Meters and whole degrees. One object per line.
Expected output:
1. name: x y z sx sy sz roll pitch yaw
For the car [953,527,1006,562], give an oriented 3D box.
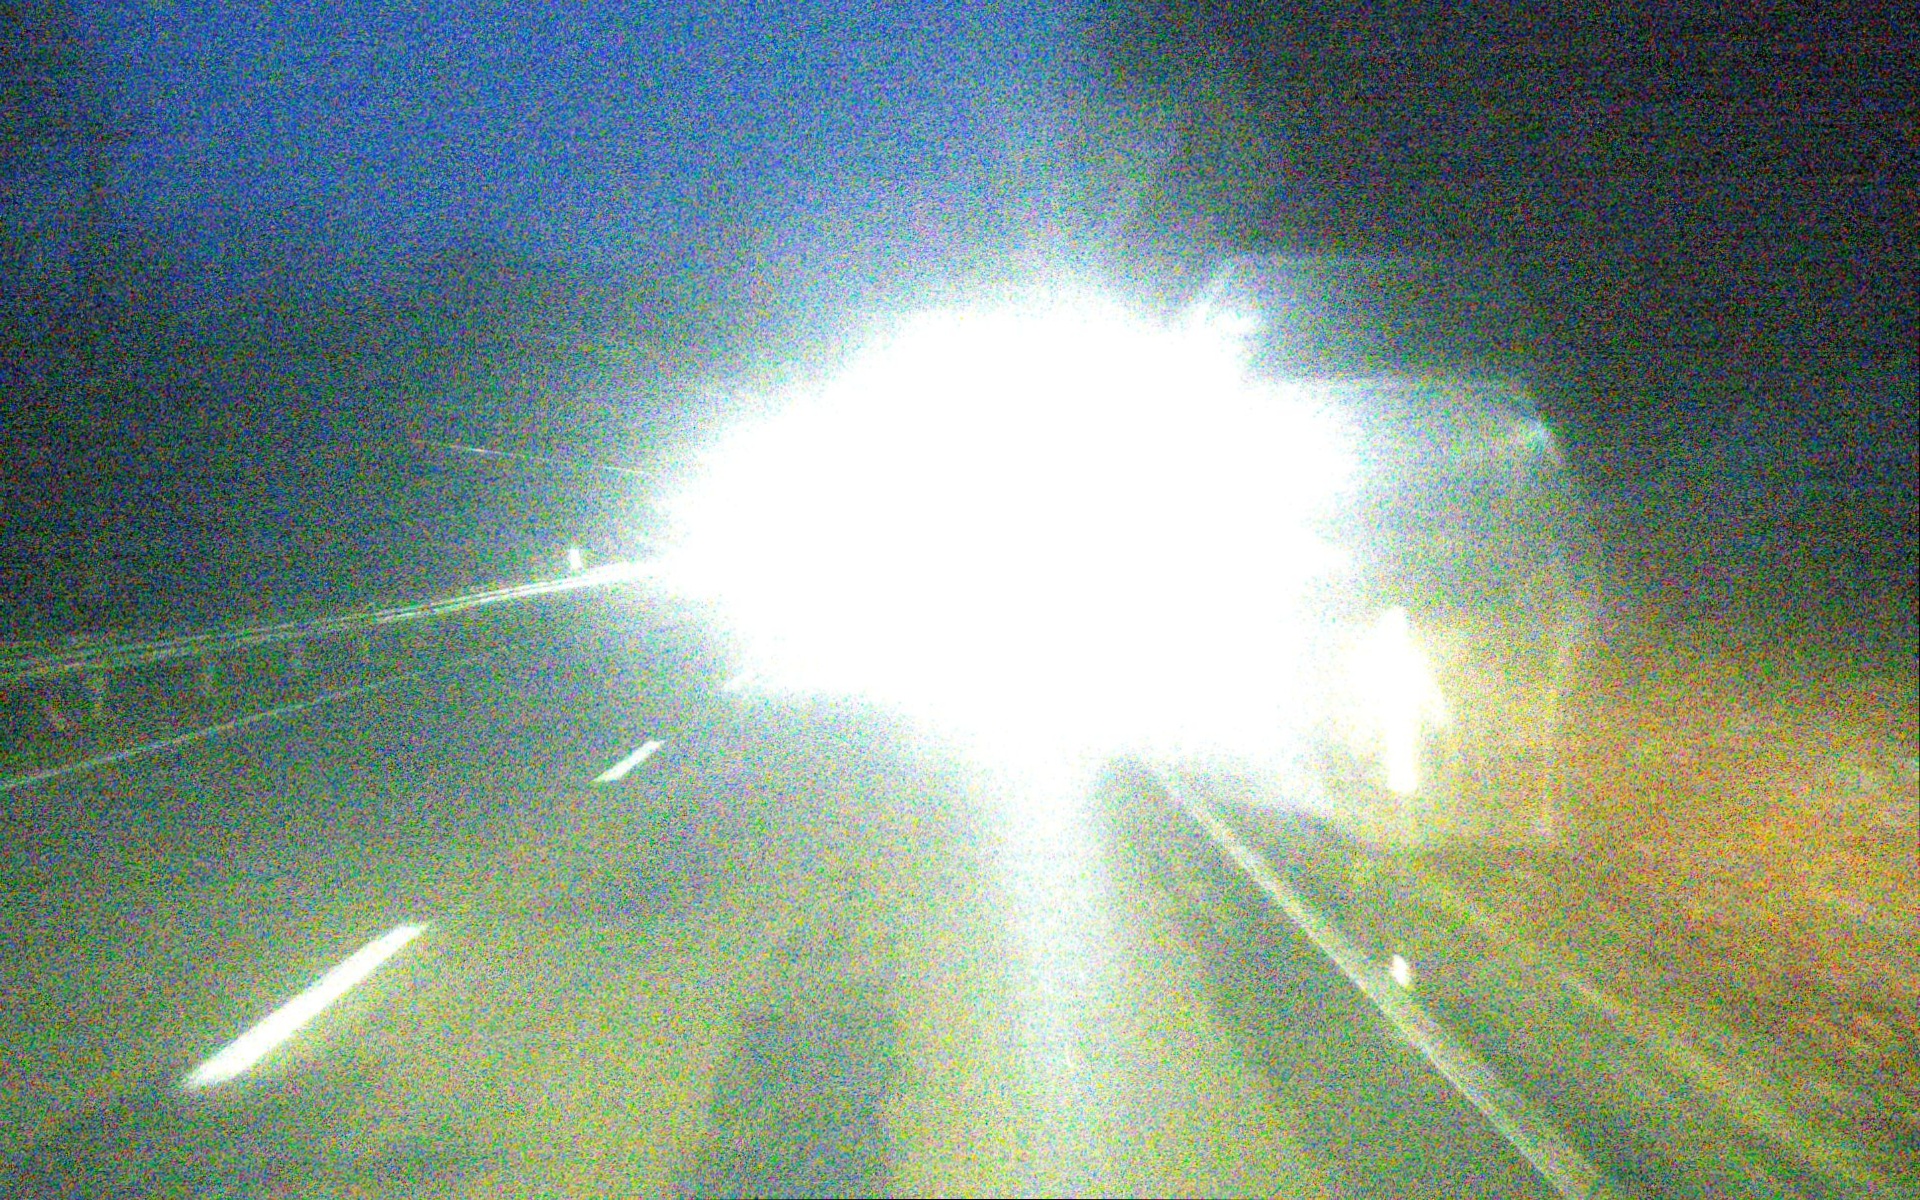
1. car: 0.805 -2.256 139.560 1.994 1.386 3.846 0 1 2
